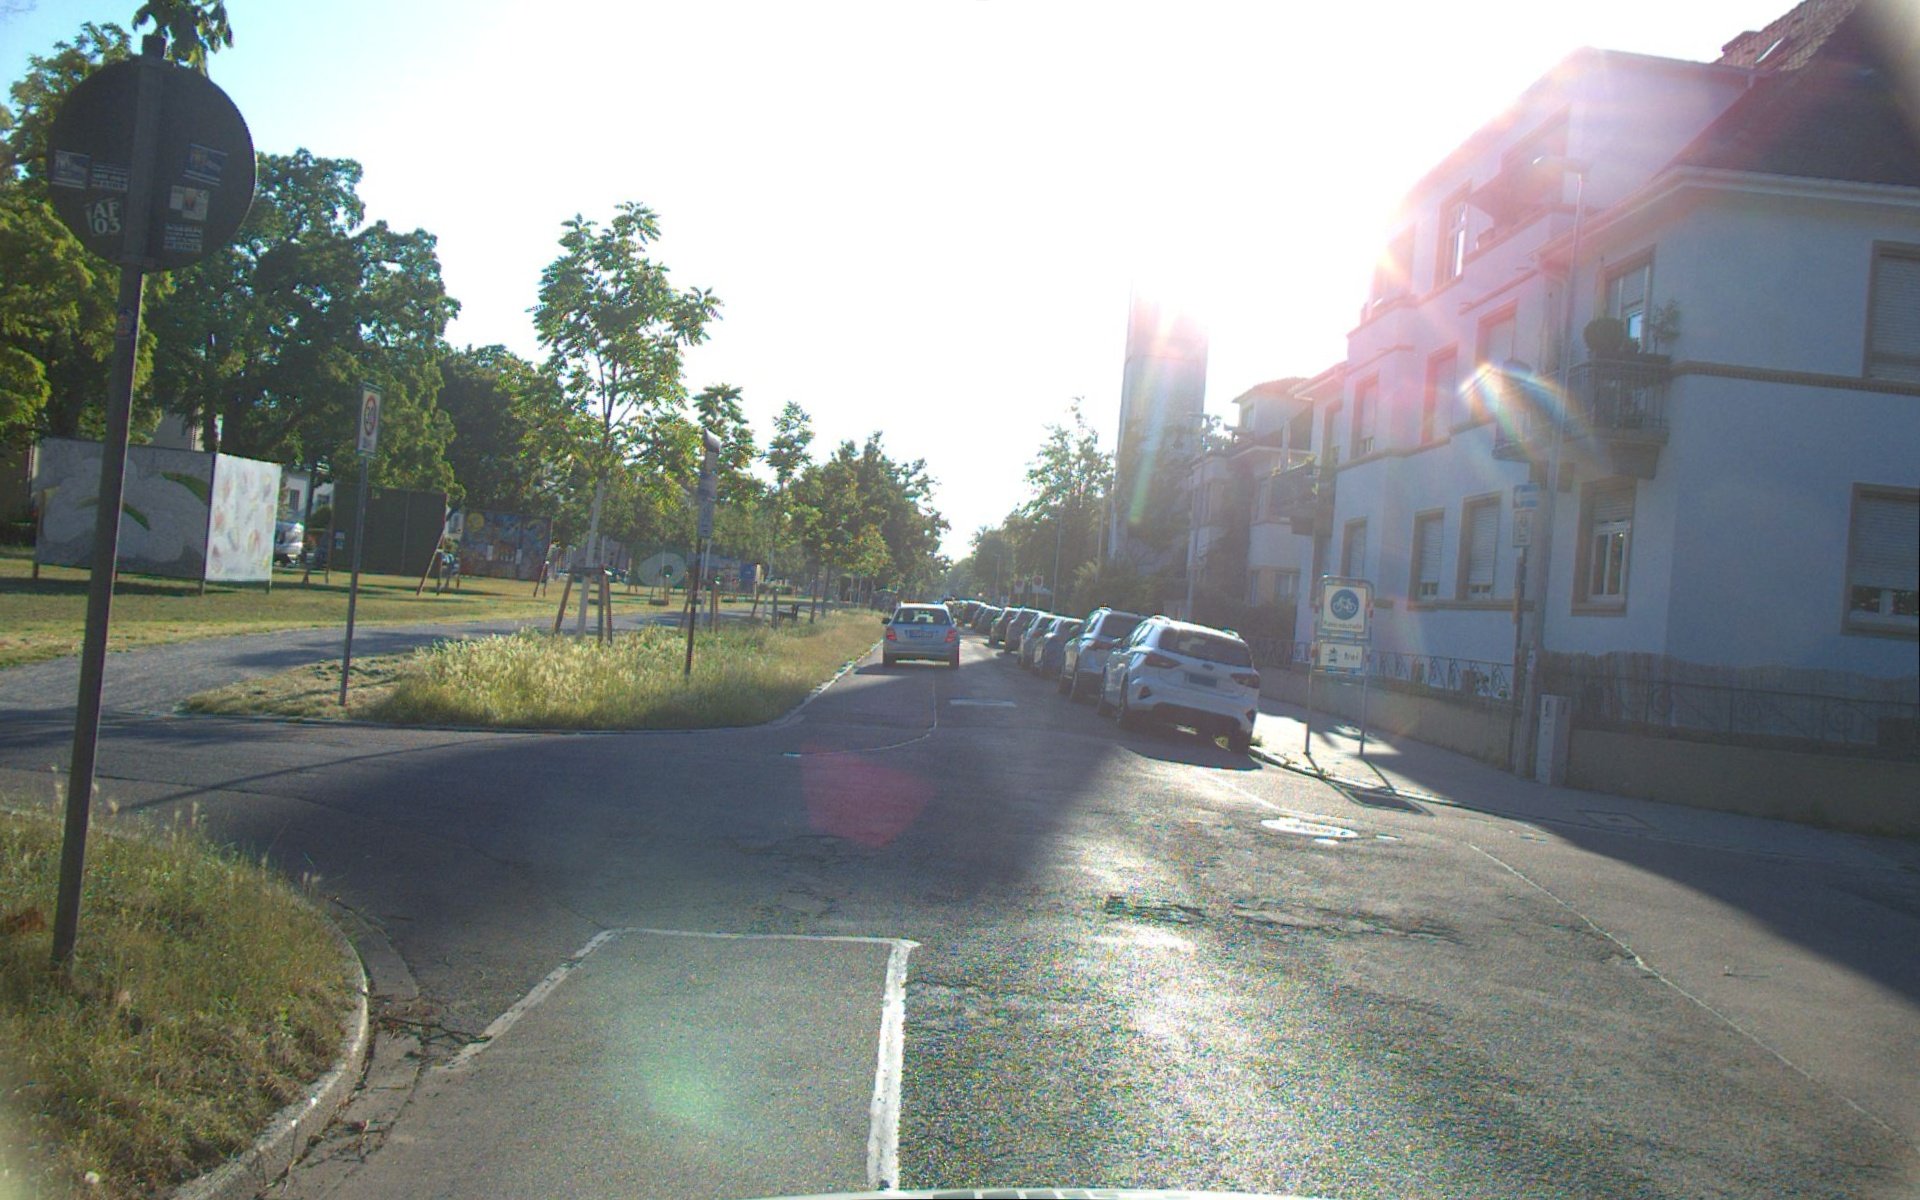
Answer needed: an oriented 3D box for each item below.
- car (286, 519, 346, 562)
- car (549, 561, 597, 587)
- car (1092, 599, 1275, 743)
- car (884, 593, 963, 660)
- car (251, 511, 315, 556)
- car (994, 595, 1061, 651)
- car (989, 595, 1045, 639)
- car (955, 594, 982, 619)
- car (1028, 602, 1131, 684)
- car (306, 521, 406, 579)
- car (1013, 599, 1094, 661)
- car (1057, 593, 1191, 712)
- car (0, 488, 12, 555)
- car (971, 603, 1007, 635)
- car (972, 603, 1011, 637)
[{"bbox_3d":[-40.334,-3.704,103.680,1.953,2.451,4.363,2,0,-1],"label":"car"},{"bbox_3d":[-36.545,-2.443,156.378,3.095,2.185,6.109,2,0,0],"label":"car"},{"bbox_3d":[2.999,0.900,23.089,1.723,1.632,4.357,4,1,-2],"label":"car"},{"bbox_3d":[-0.866,0.569,38.267,1.725,1.445,3.998,0,1,-2],"label":"car"},{"bbox_3d":[-40.322,-3.915,98.667,1.953,2.451,4.363,2,0,-1],"label":"car"},{"bbox_3d":[2.152,0.720,53.523,1.726,1.547,3.998,6,0,-2],"label":"car"},{"bbox_3d":[2.160,0.630,64.070,1.953,1.489,4.000,4,0,0],"label":"car"},{"bbox_3d":[0.644,0.453,124.819,1.940,1.712,4.000,4,0,0],"label":"car"},{"bbox_3d":[2.684,0.932,37.913,1.728,1.443,3.999,10,0,-2],"label":"car"},{"bbox_3d":[-34.585,-2.811,94.998,3.095,3.045,6.893,2,0,0],"label":"car"},{"bbox_3d":[2.405,0.755,43.311,1.725,1.445,3.998,2,0,-2],"label":"car"},{"bbox_3d":[2.810,0.856,29.139,1.652,1.678,4.099,9,0,-1],"label":"car"},{"bbox_3d":[-33.853,-2.722,54.087,2.483,2.275,5.458,4,1,-1],"label":"car"},{"bbox_3d":[1.670,1.102,96.603,1.953,1.657,4.000,4,0,0],"label":"car"},{"bbox_3d":[1.667,1.079,89.981,1.953,1.657,4.000,4,0,0],"label":"car"}]
